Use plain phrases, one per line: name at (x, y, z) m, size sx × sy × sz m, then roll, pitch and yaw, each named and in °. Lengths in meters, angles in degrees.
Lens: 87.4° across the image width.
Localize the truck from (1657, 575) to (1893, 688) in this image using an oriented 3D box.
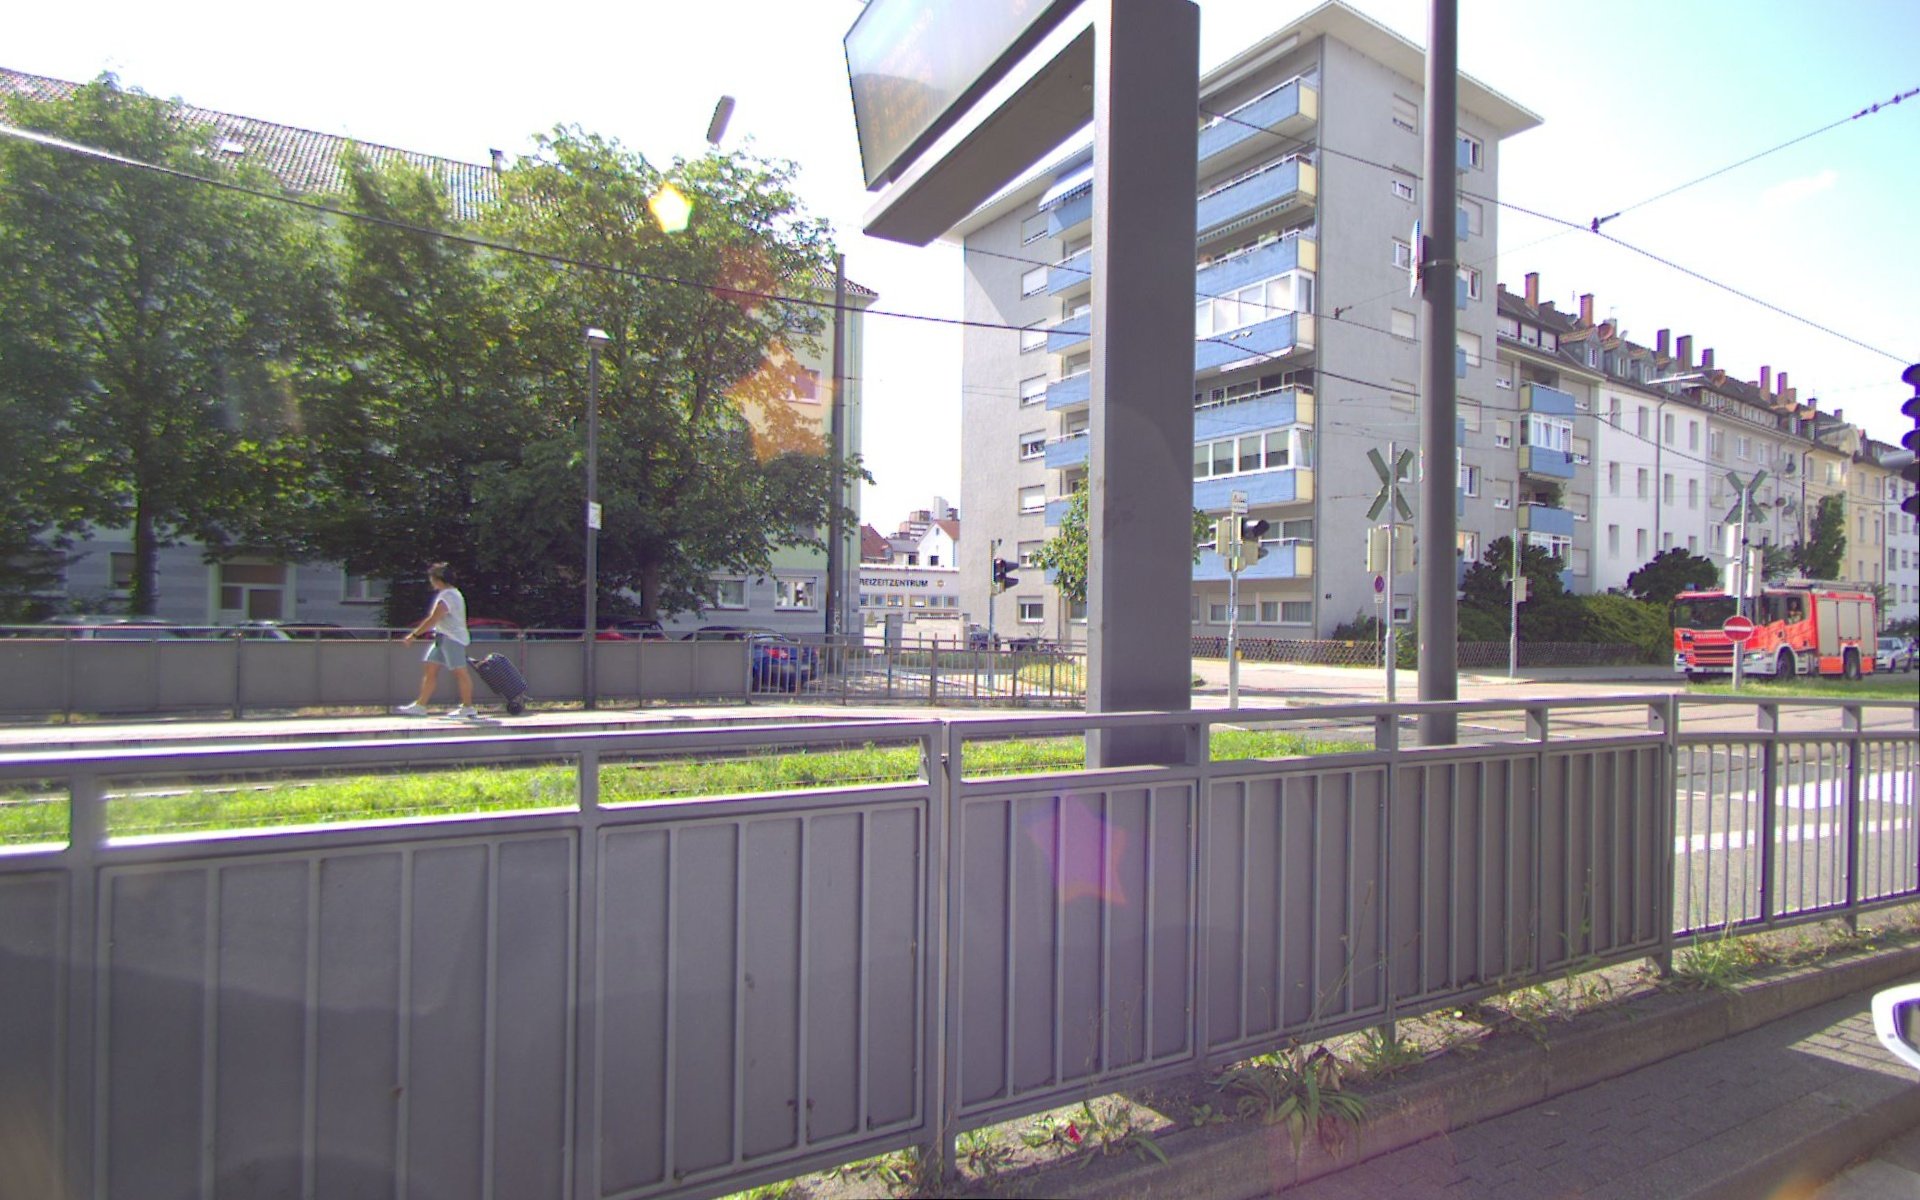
truck at (25.919, 1.018, 31.844) m, size 8.273 × 3.228 × 2.587 m, roll 2°, pitch 0°, yaw -27°

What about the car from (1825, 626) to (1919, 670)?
car at (39.254, 2.068, 43.230) m, size 3.956 × 1.734 × 1.982 m, roll 2°, pitch 0°, yaw -32°

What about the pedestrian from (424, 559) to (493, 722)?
pedestrian at (-5.437, 0.431, 10.877) m, size 0.624 × 1.686 × 0.657 m, roll 1°, pitch -1°, yaw -29°

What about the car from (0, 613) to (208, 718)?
car at (-14.208, 0.994, 16.559) m, size 3.959 × 1.534 × 1.605 m, roll 0°, pitch -1°, yaw 33°

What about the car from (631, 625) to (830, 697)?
car at (-4.990, 1.272, 21.813) m, size 4.055 × 1.413 × 1.608 m, roll 0°, pitch -1°, yaw 24°

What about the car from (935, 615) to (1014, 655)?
car at (0.642, 1.632, 47.550) m, size 1.976 × 1.706 × 3.968 m, roll 2°, pitch 0°, yaw -30°

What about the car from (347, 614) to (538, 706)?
car at (-9.987, 1.082, 19.326) m, size 3.603 × 1.600 × 1.645 m, roll 0°, pitch -1°, yaw 32°

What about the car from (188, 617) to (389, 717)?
car at (-12.062, 1.116, 18.003) m, size 3.603 × 1.600 × 1.645 m, roll 0°, pitch -1°, yaw 32°

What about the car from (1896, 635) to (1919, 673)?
car at (47.362, 2.654, 48.787) m, size 3.960 × 1.734 × 1.981 m, roll 2°, pitch 0°, yaw -35°

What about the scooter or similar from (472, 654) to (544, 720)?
scooter or similar at (-5.068, 0.963, 11.262) m, size 0.692 × 0.708 × 0.440 m, roll 1°, pitch -1°, yaw -29°
